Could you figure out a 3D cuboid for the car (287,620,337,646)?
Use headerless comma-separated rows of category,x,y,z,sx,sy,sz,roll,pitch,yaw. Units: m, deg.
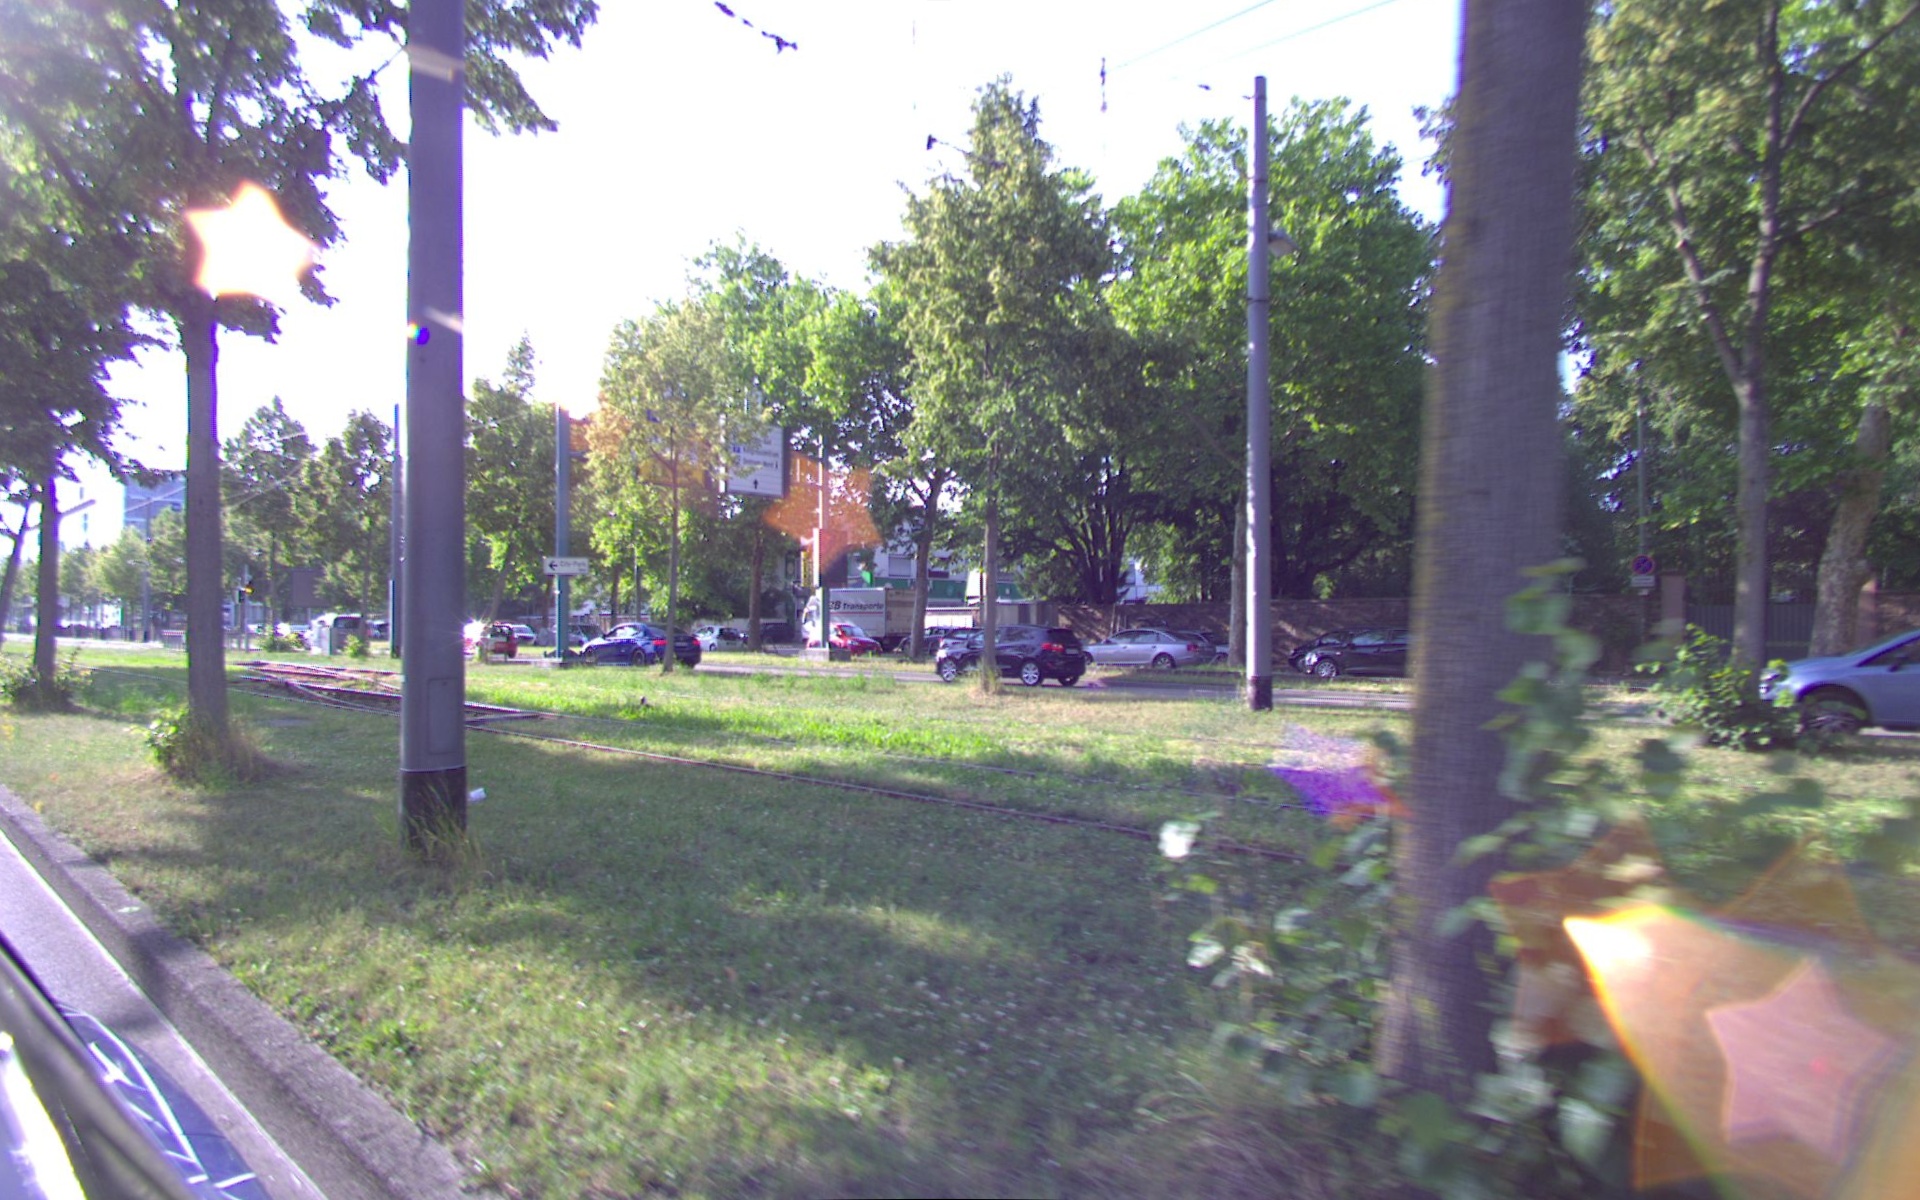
car,-39.718,1.997,61.973,3.958,1.459,1.663,-1,1,44

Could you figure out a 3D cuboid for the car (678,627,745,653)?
car,-12.020,1.916,48.853,3.773,1.116,1.284,-1,1,43

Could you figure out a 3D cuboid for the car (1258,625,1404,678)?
car,12.987,1.755,35.624,4.473,1.624,1.811,-1,0,42

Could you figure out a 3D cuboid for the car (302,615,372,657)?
car,-29.811,1.668,48.387,4.216,1.878,1.664,-1,0,41

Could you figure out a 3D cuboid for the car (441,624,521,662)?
car,-20.662,1.821,43.624,3.927,1.536,1.664,-1,0,41

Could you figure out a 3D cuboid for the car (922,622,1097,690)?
car,1.133,1.286,24.398,4.033,1.446,1.664,-1,0,41

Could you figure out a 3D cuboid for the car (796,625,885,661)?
car,-4.877,1.696,40.958,1.564,1.286,3.964,-1,1,-43

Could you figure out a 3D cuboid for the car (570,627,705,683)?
car,-9.666,1.573,30.163,4.669,1.446,1.664,-1,0,41

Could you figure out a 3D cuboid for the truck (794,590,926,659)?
truck,-5.617,1.278,55.757,2.855,3.542,7.949,-1,0,-44

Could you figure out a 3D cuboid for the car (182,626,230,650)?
car,-48.138,2.401,64.599,3.956,1.382,1.664,-1,0,42

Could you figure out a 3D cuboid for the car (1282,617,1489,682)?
car,10.619,1.172,25.453,4.473,1.442,1.811,-1,1,42

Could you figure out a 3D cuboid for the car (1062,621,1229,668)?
car,5.580,1.312,30.911,4.899,1.253,1.658,-1,1,42

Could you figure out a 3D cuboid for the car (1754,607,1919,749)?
car,11.705,0.869,11.506,4.130,1.543,1.594,-1,0,41

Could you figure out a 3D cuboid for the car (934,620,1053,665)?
car,1.122,1.432,35.203,3.957,1.442,1.653,-1,0,41

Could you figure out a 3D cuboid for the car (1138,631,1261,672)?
car,9.219,1.936,39.132,4.387,1.385,1.678,-1,1,45

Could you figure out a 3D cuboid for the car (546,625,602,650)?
car,-22.673,2.176,59.348,3.781,1.292,1.437,-1,0,41
